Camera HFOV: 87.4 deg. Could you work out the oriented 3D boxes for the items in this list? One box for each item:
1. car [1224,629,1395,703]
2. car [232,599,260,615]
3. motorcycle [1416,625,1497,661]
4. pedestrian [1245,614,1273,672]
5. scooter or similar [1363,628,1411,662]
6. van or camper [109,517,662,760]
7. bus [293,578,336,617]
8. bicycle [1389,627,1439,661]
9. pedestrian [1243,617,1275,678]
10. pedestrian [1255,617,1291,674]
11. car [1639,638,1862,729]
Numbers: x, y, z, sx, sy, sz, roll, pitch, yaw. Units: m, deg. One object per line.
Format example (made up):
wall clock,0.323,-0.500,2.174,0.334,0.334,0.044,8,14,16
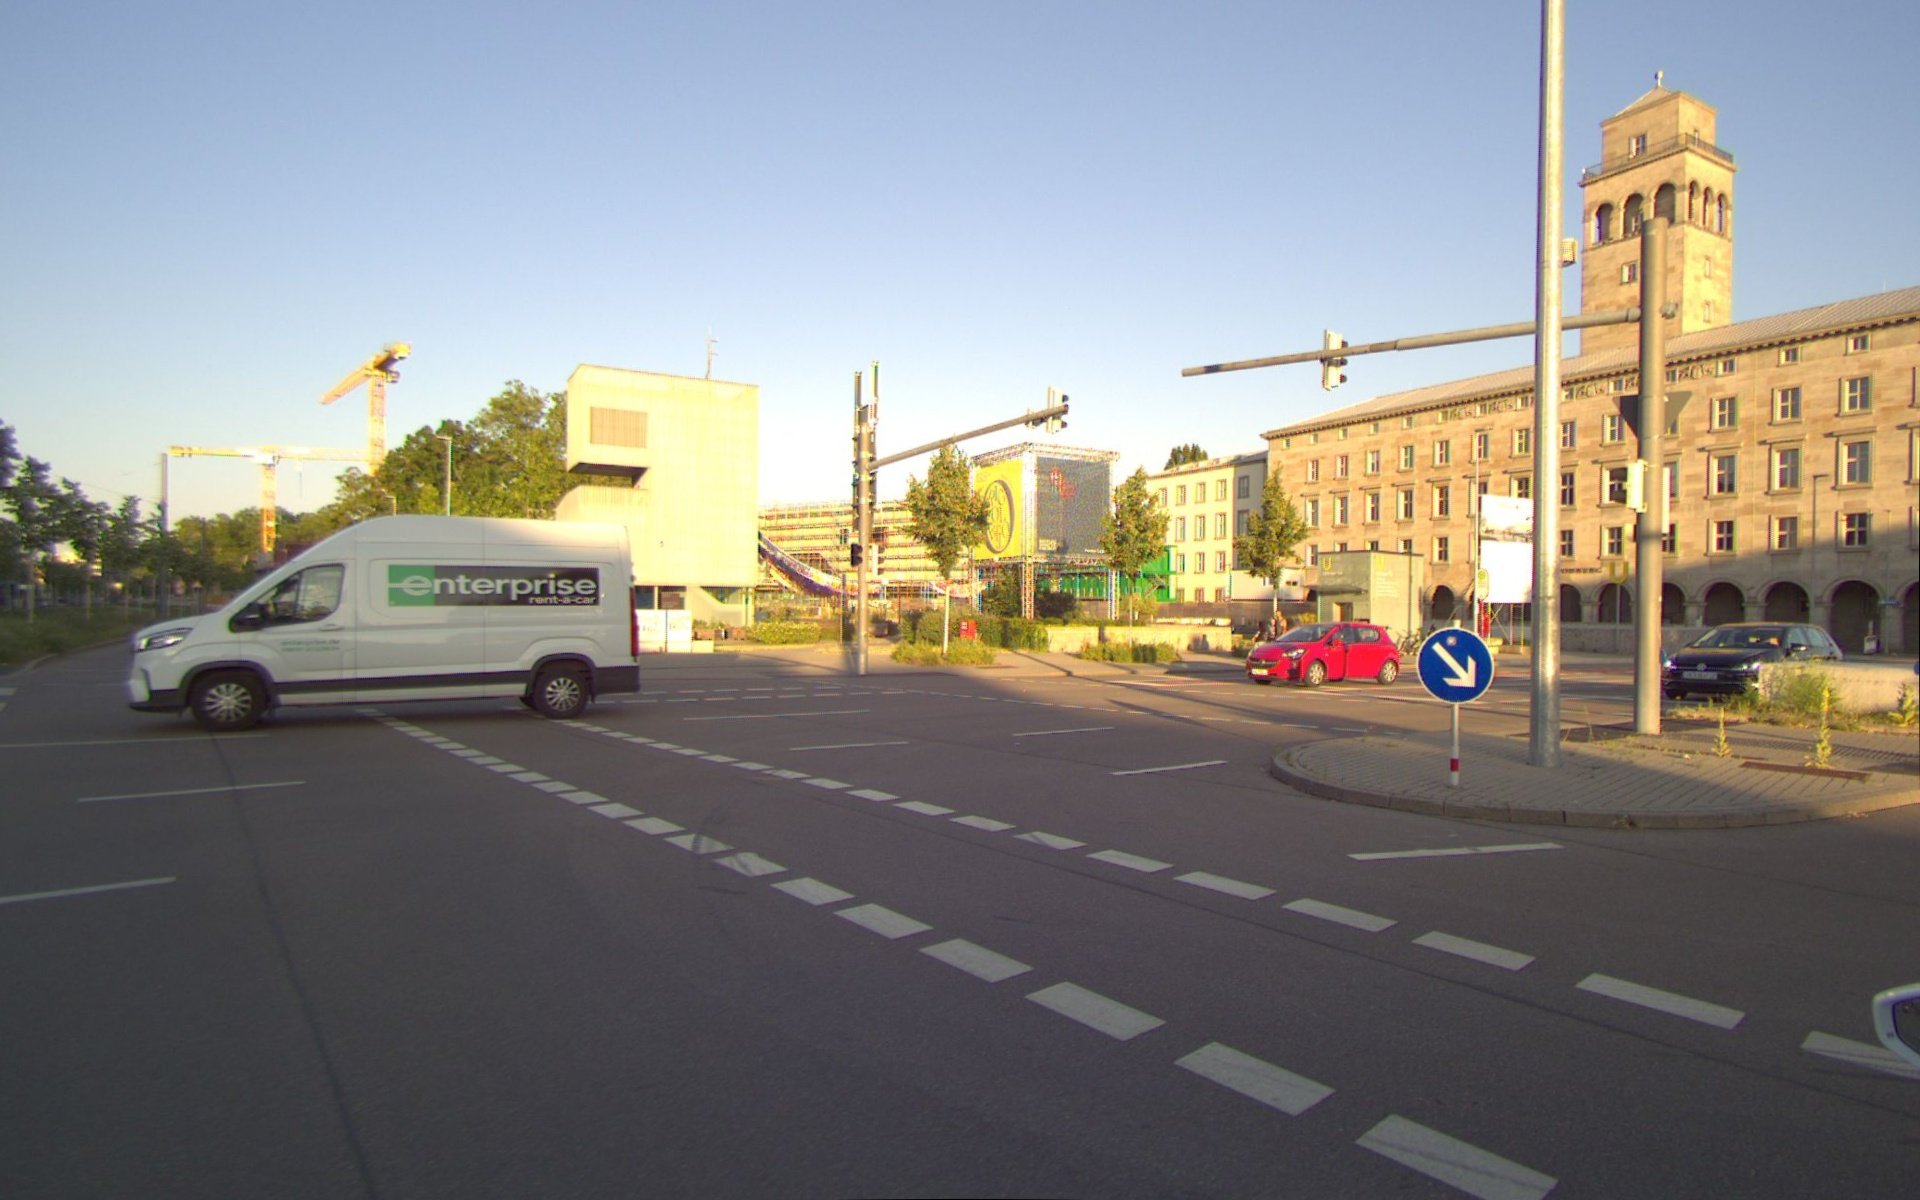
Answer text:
car,8.133,1.461,23.308,3.955,1.547,1.626,1,0,-32
car,-77.567,0.777,109.193,2.049,1.673,3.968,1,-1,-30
motorcycle,21.927,1.876,44.444,0.830,1.401,3.216,1,1,-31
pedestrian,10.272,1.460,34.512,0.639,1.959,0.656,0,0,-28
scooter or similar,17.229,1.805,40.554,0.419,1.322,1.823,1,-1,-35
van or camper,-7.413,0.446,13.702,6.094,2.702,2.214,0,0,-32
bus,-66.979,-0.220,104.163,3.521,3.764,8.837,1,-1,-34
bicycle,18.849,1.818,41.708,2.481,1.341,0.614,2,-1,-32
pedestrian,9.909,1.572,33.305,0.766,1.959,0.628,0,3,-29
pedestrian,10.559,1.524,33.870,0.766,1.861,0.868,1,0,-29
car,15.050,1.495,19.076,4.486,1.485,1.877,1,-1,-31
